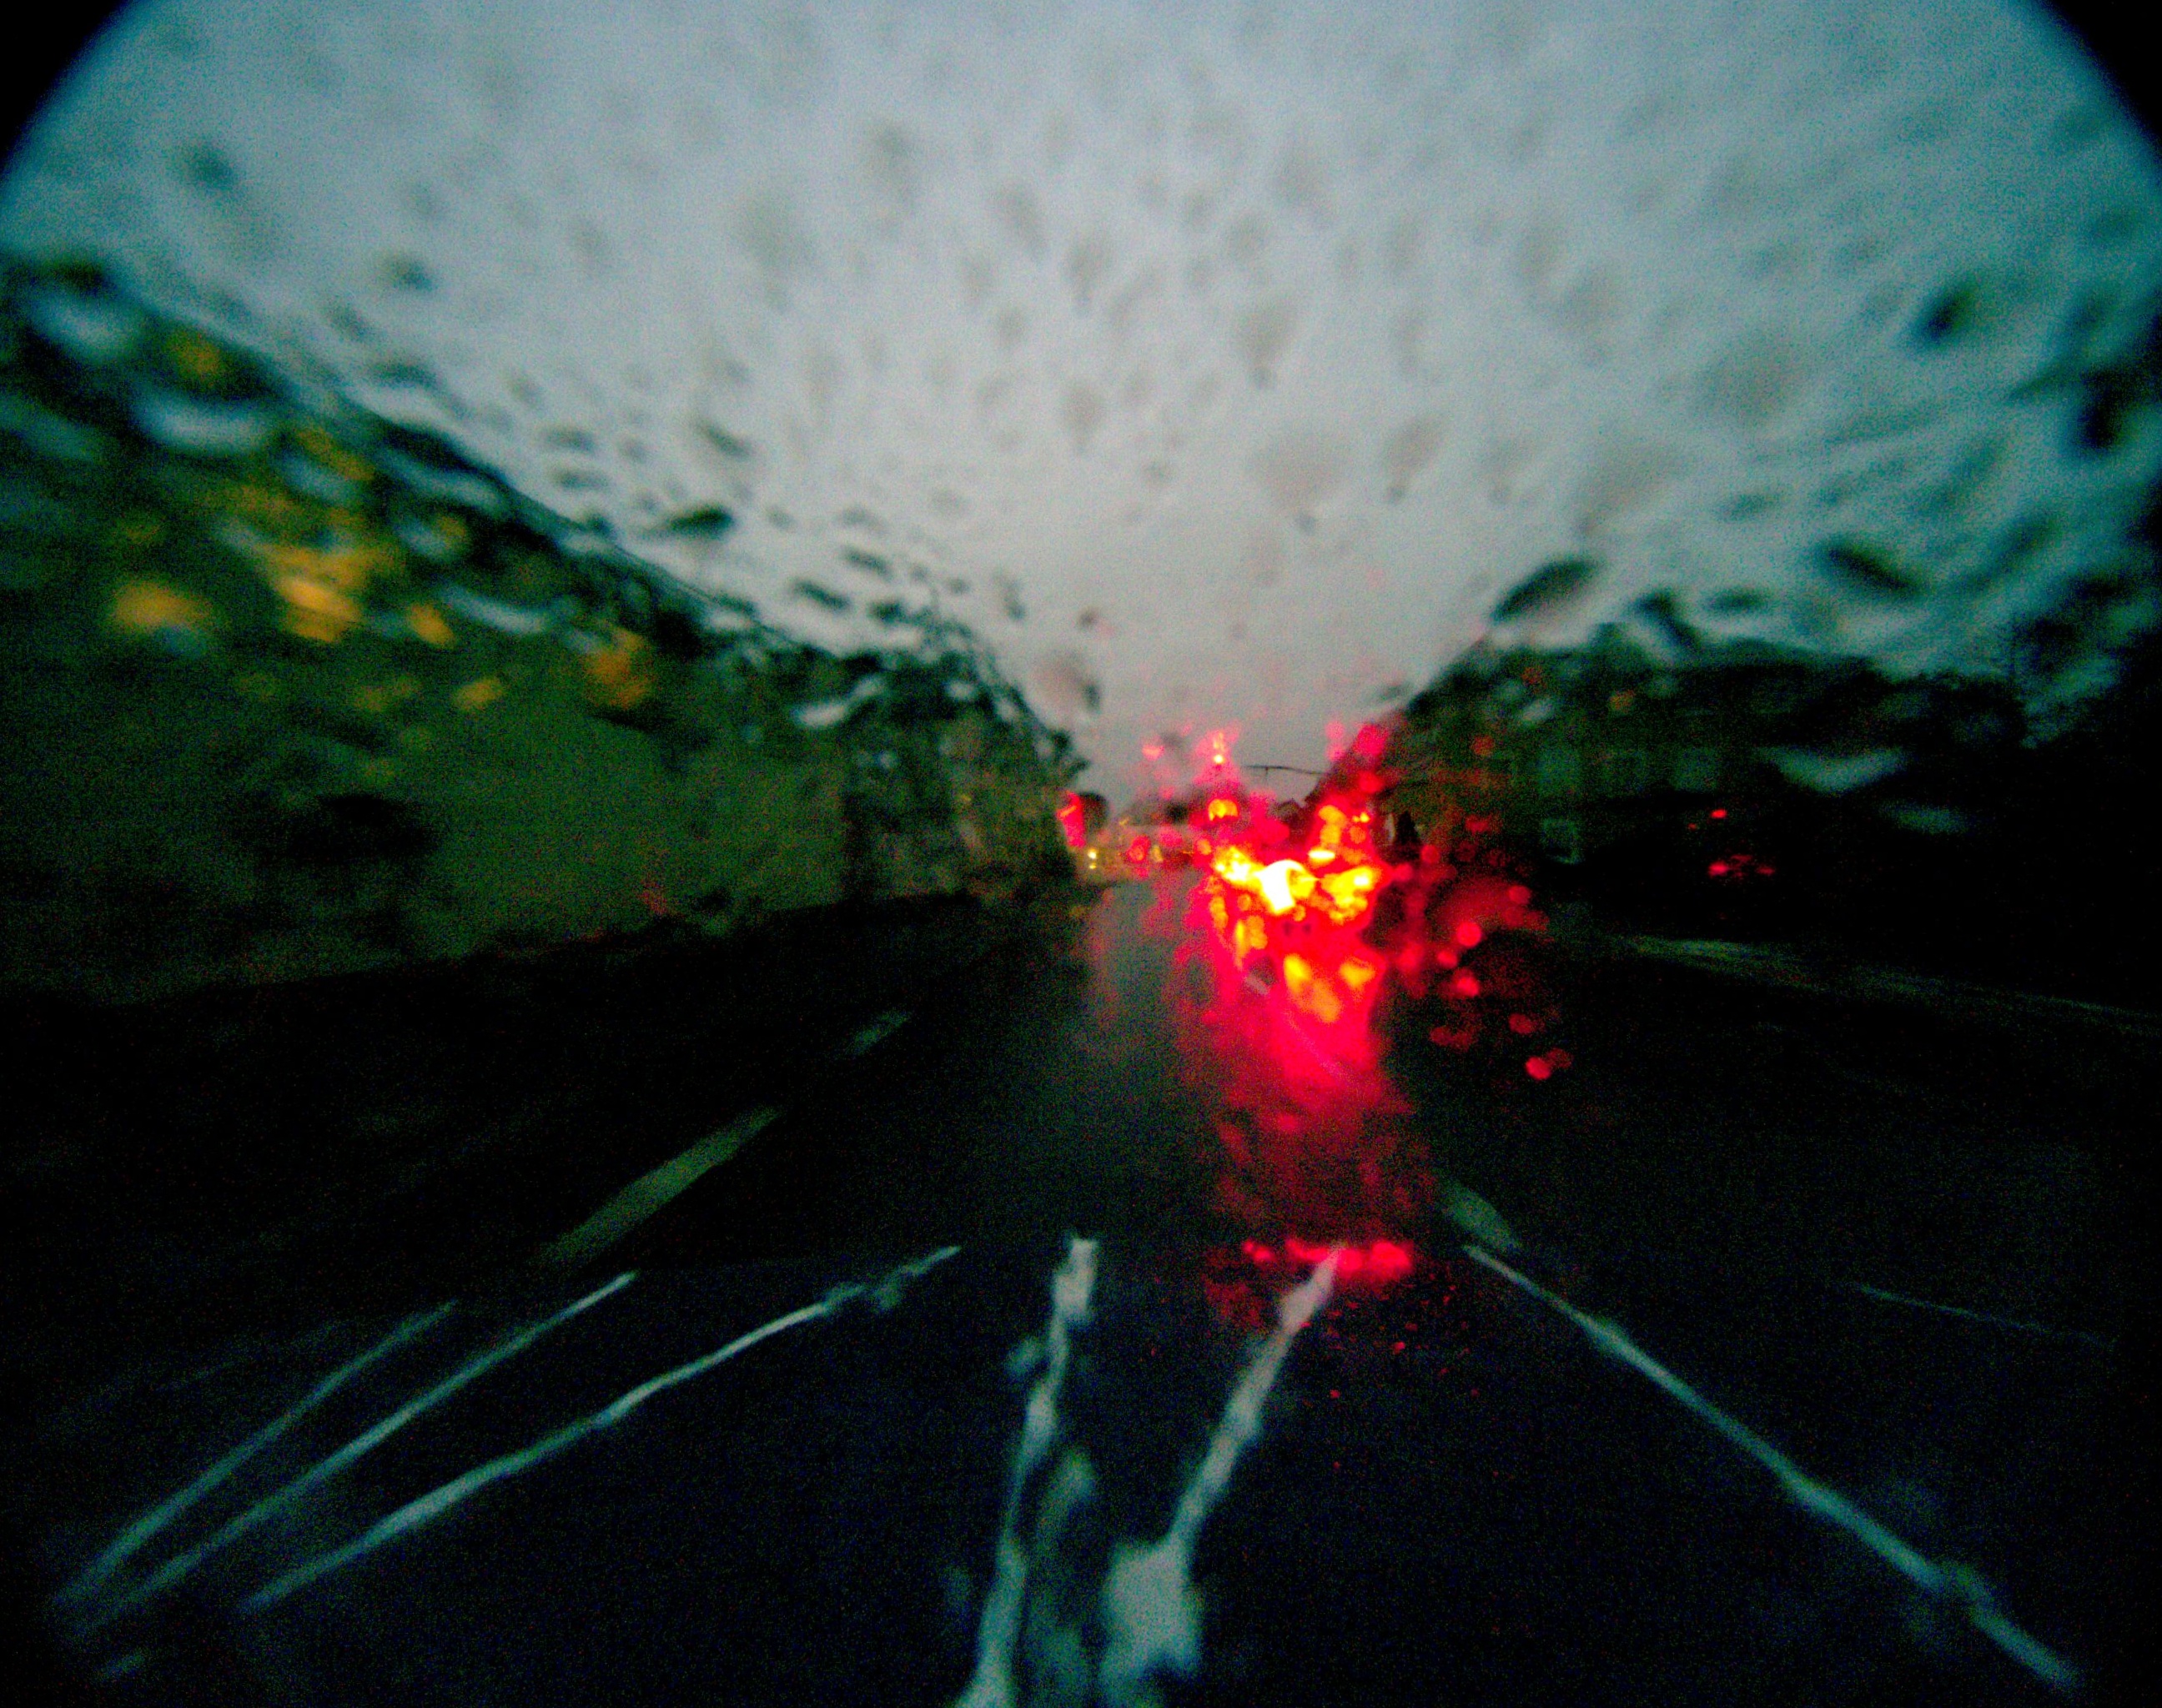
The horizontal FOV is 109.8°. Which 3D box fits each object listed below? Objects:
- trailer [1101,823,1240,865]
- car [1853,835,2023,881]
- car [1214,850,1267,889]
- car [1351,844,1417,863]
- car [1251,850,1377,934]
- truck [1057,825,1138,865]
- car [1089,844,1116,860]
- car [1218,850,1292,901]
[{"bbox_3d":[7.128,-0.733,60.702,10.852,3.222,2.498,0,0,9],"label":"trailer"},{"bbox_3d":[35.710,0.124,31.945,1.997,1.780,5.210,0,1,11],"label":"car"},{"bbox_3d":[6.274,0.555,30.253,1.883,1.386,4.526,0,1,10],"label":"car"},{"bbox_3d":[22.869,-0.042,57.396,4.375,1.430,1.669,0,0,9],"label":"car"},{"bbox_3d":[4.942,0.708,16.736,1.879,1.576,4.292,1,1,6],"label":"car"},{"bbox_3d":[1.394,-0.708,61.581,6.263,3.211,2.471,0,0,9],"label":"truck"},{"bbox_3d":[2.281,-0.258,80.998,1.819,1.679,3.910,0,0,-16],"label":"car"},{"bbox_3d":[5.258,0.596,23.443,1.828,1.365,4.288,0,1,8],"label":"car"}]
